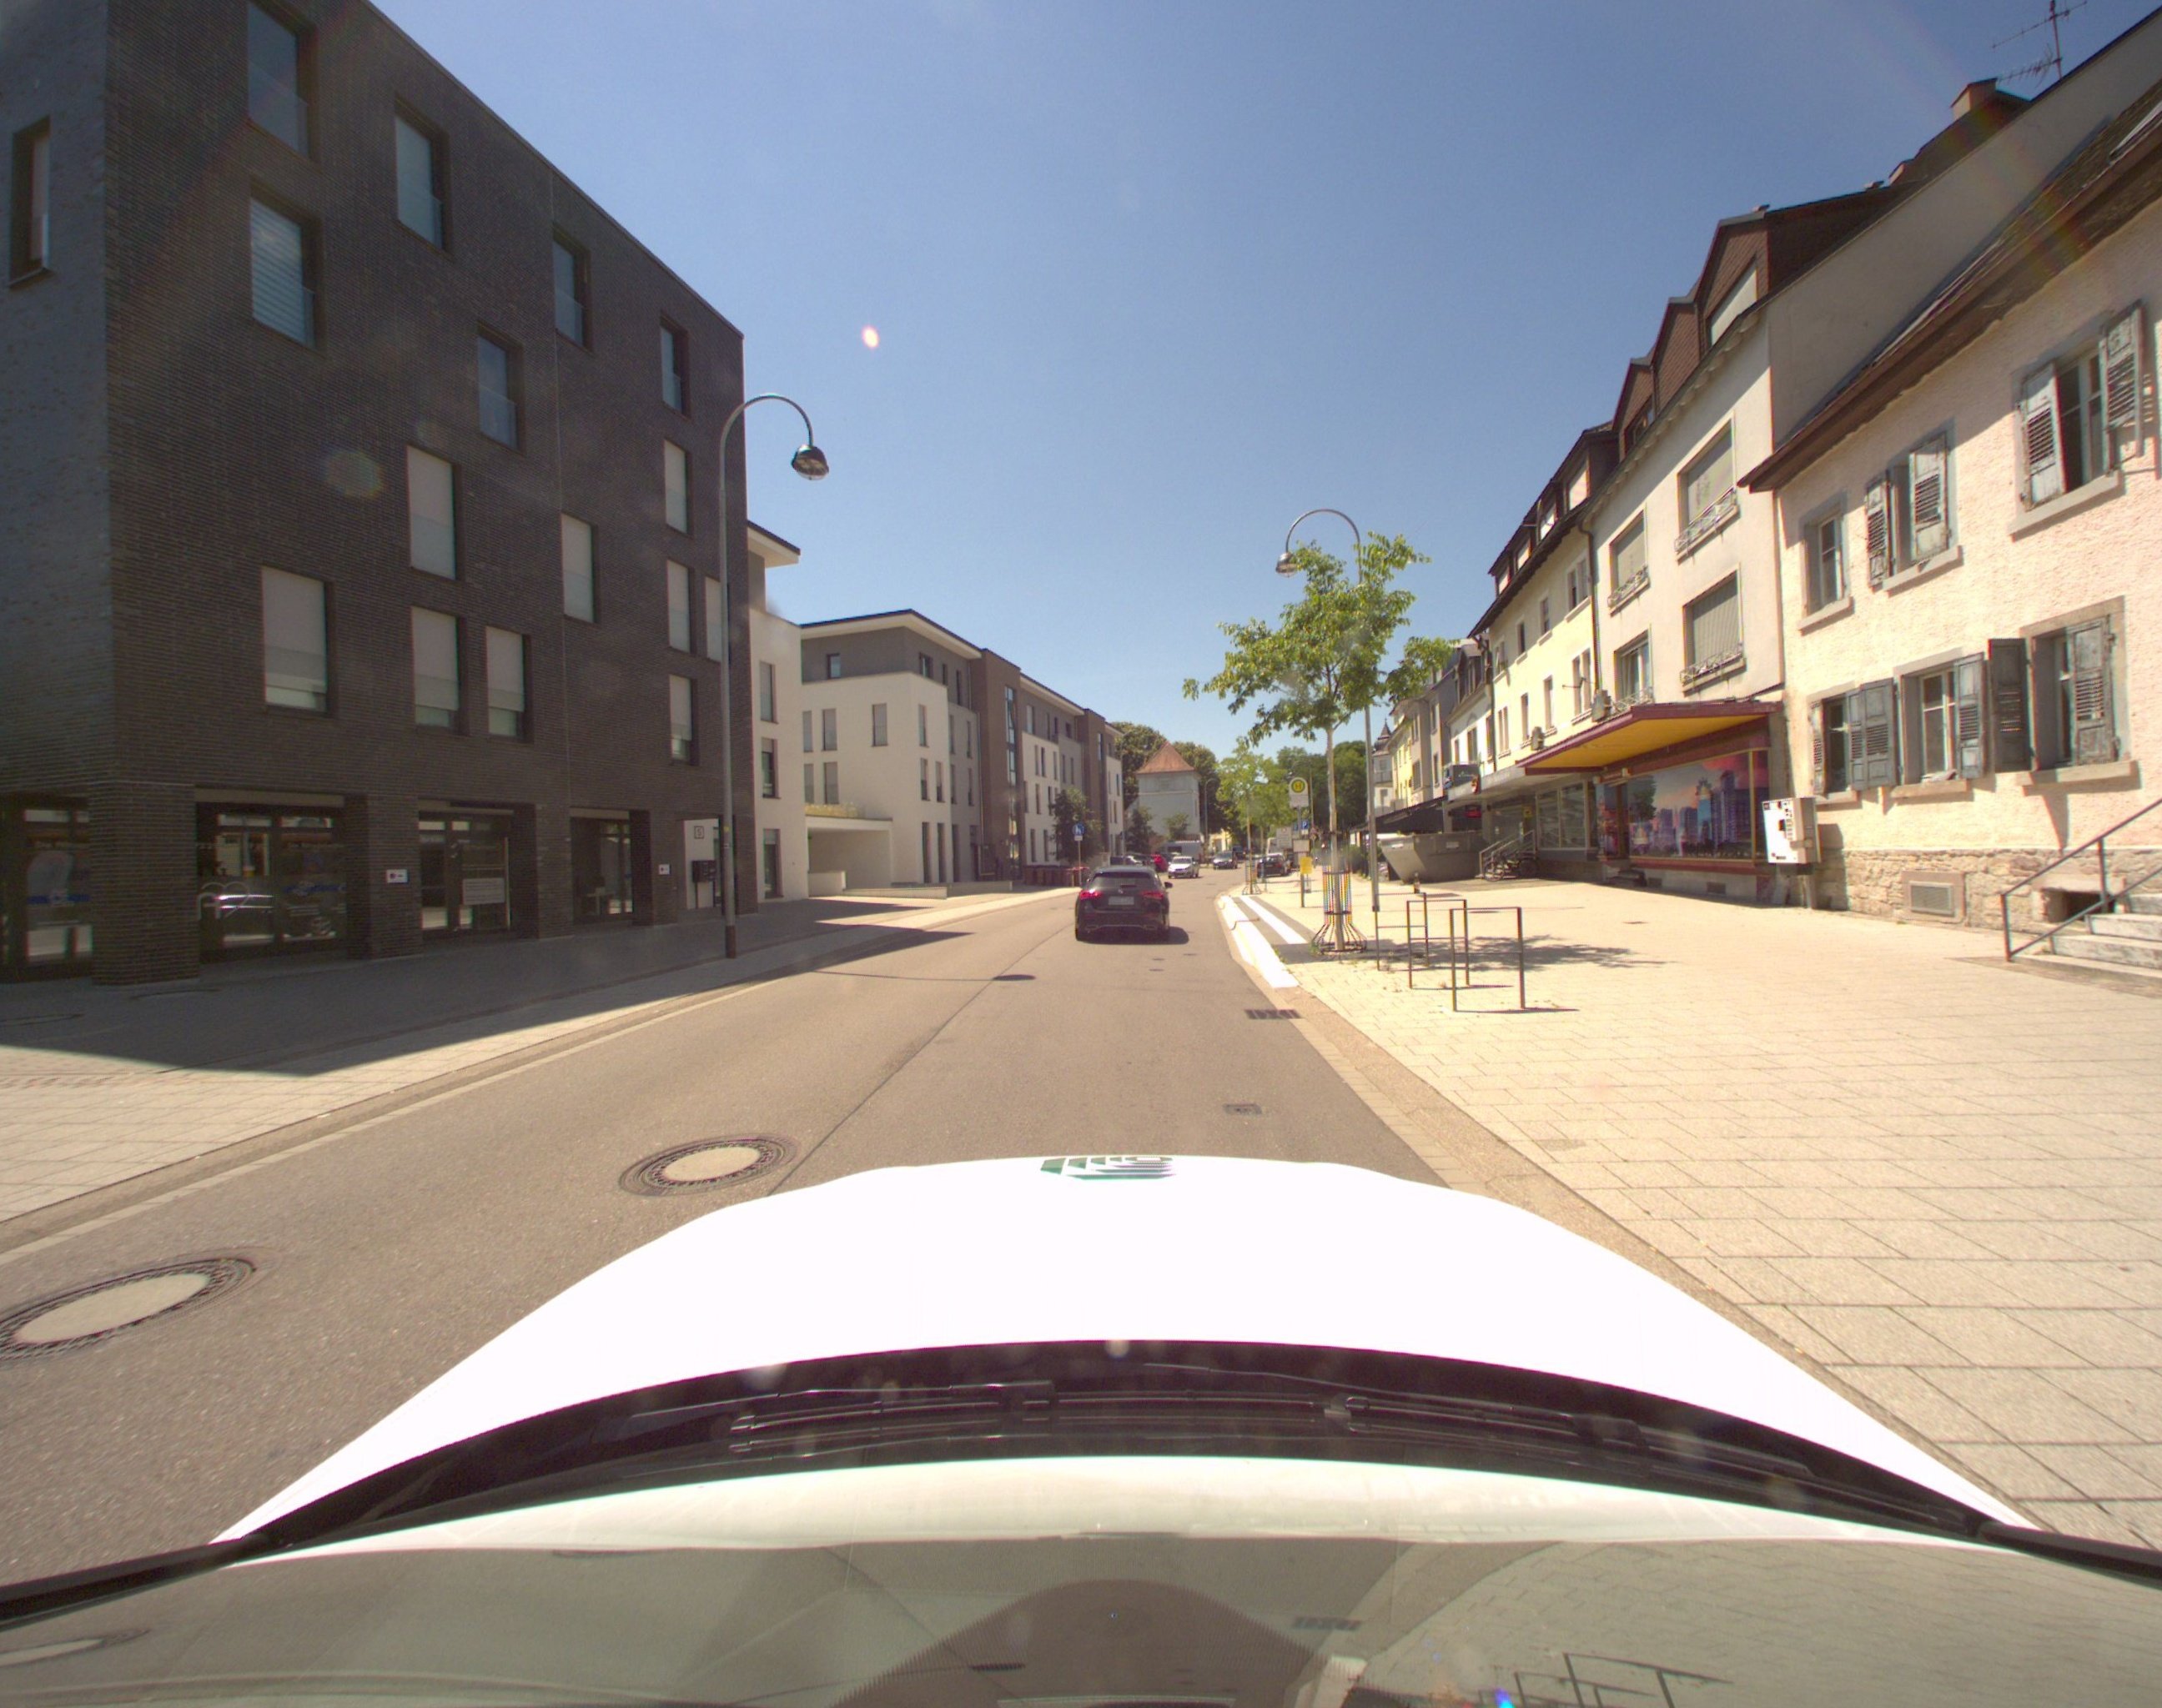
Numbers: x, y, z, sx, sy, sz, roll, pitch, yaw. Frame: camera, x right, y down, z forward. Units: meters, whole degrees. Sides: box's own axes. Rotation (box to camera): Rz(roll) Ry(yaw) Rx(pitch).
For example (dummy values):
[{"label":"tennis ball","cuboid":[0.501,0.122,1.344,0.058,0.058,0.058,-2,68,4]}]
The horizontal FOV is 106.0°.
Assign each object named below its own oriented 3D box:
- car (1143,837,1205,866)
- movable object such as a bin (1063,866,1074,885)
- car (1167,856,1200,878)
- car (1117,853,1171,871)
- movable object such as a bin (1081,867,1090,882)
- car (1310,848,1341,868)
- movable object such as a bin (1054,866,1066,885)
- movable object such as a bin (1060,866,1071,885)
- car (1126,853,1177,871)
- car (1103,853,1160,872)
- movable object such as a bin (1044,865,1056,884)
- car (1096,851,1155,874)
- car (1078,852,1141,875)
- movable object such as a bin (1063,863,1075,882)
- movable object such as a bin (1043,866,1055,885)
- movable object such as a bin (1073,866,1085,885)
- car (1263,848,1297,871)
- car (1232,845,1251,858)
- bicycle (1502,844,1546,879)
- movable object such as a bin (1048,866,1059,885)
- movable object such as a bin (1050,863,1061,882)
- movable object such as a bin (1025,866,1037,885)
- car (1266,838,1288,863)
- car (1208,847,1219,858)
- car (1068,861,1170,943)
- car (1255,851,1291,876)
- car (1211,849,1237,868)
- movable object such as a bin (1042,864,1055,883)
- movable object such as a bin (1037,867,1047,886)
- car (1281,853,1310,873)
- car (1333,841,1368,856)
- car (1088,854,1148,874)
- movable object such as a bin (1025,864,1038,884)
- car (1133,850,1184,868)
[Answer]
[{"label":"car","cuboid":[9.214,-0.226,80.386,5.722,2.732,2.302,0,0,17]},{"label":"movable object such as a bin","cuboid":[-0.672,1.165,43.462,0.480,0.998,0.589,-2,0,9]},{"label":"car","cuboid":[6.949,0.834,54.855,1.654,1.396,3.863,-1,0,15]},{"label":"car","cuboid":[5.170,0.648,66.453,3.999,1.430,2.010,0,0,19]},{"label":"movable object such as a bin","cuboid":[0.262,1.203,47.637,0.552,0.868,0.481,-2,0,-1]},{"label":"car","cuboid":[22.591,0.360,75.127,1.854,1.491,3.886,-3,1,30]},{"label":"movable object such as a bin","cuboid":[-1.141,1.167,43.772,0.479,0.998,0.590,-2,0,15]},{"label":"movable object such as a bin","cuboid":[-0.844,1.156,44.087,0.400,0.998,0.558,-2,0,15]},{"label":"car","cuboid":[6.161,0.685,70.556,4.171,1.437,1.892,0,0,12]},{"label":"car","cuboid":[3.990,0.678,64.032,3.999,1.496,2.010,0,0,19]},{"label":"movable object such as a bin","cuboid":[-1.739,1.143,46.047,0.618,1.039,0.582,-2,0,-1]},{"label":"car","cuboid":[3.371,0.641,61.271,3.999,1.651,2.010,0,0,19]},{"label":"car","cuboid":[2.020,0.642,56.625,3.956,1.515,2.009,0,2,16]},{"label":"movable object such as a bin","cuboid":[-0.674,1.056,46.556,0.550,1.020,0.562,-2,0,12]},{"label":"movable object such as a bin","cuboid":[-1.721,1.171,43.768,0.421,0.998,0.526,-2,0,16]},{"label":"movable object such as a bin","cuboid":[-0.082,1.177,44.111,0.479,0.998,0.590,-2,0,15]},{"label":"car","cuboid":[14.511,0.396,59.144,1.722,1.486,4.076,-4,-1,22]},{"label":"car","cuboid":[20.862,-0.326,105.754,1.795,1.701,4.096,-1,0,20]},{"label":"bicycle","cuboid":[15.065,0.254,27.710,1.258,1.184,0.417,0,-1,24]},{"label":"movable object such as a bin","cuboid":[-1.490,1.182,44.301,0.400,0.998,0.558,-2,0,15]},{"label":"movable object such as a bin","cuboid":[-1.468,1.069,47.401,0.574,1.039,0.550,-2,0,-1]},{"label":"movable object such as a bin","cuboid":[-2.718,1.159,44.466,0.480,0.998,0.589,-2,0,9]},{"label":"car","cuboid":[22.833,-0.435,94.767,2.111,2.629,5.301,-3,0,16]},{"label":"car","cuboid":[24.283,-0.300,149.162,1.982,2.014,4.009,0,-1,8]},{"label":"car","cuboid":[0.817,0.893,16.707,1.820,1.442,4.004,-1,-1,4]},{"label":"car","cuboid":[12.547,0.614,53.081,1.818,1.482,4.114,-4,-2,18]},{"label":"car","cuboid":[13.176,0.435,74.811,1.927,1.658,4.253,-1,0,16]},{"label":"movable object such as a bin","cuboid":[-1.874,1.131,46.746,0.673,1.039,0.604,-2,0,-1]},{"label":"movable object such as a bin","cuboid":[-2.117,1.220,44.231,0.400,0.998,0.558,-2,0,15]},{"label":"car","cuboid":[17.187,0.680,65.081,1.709,1.405,4.633,-3,-1,21]},{"label":"car","cuboid":[33.508,-0.677,101.423,4.045,1.716,1.864,-1,0,15]},{"label":"car","cuboid":[2.697,0.733,58.828,3.956,1.421,1.918,0,0,17]},{"label":"movable object such as a bin","cuboid":[-2.788,1.120,45.999,0.690,1.095,0.647,-2,0,-1]},{"label":"car","cuboid":[7.235,0.462,76.088,4.419,1.591,2.009,0,0,16]}]
